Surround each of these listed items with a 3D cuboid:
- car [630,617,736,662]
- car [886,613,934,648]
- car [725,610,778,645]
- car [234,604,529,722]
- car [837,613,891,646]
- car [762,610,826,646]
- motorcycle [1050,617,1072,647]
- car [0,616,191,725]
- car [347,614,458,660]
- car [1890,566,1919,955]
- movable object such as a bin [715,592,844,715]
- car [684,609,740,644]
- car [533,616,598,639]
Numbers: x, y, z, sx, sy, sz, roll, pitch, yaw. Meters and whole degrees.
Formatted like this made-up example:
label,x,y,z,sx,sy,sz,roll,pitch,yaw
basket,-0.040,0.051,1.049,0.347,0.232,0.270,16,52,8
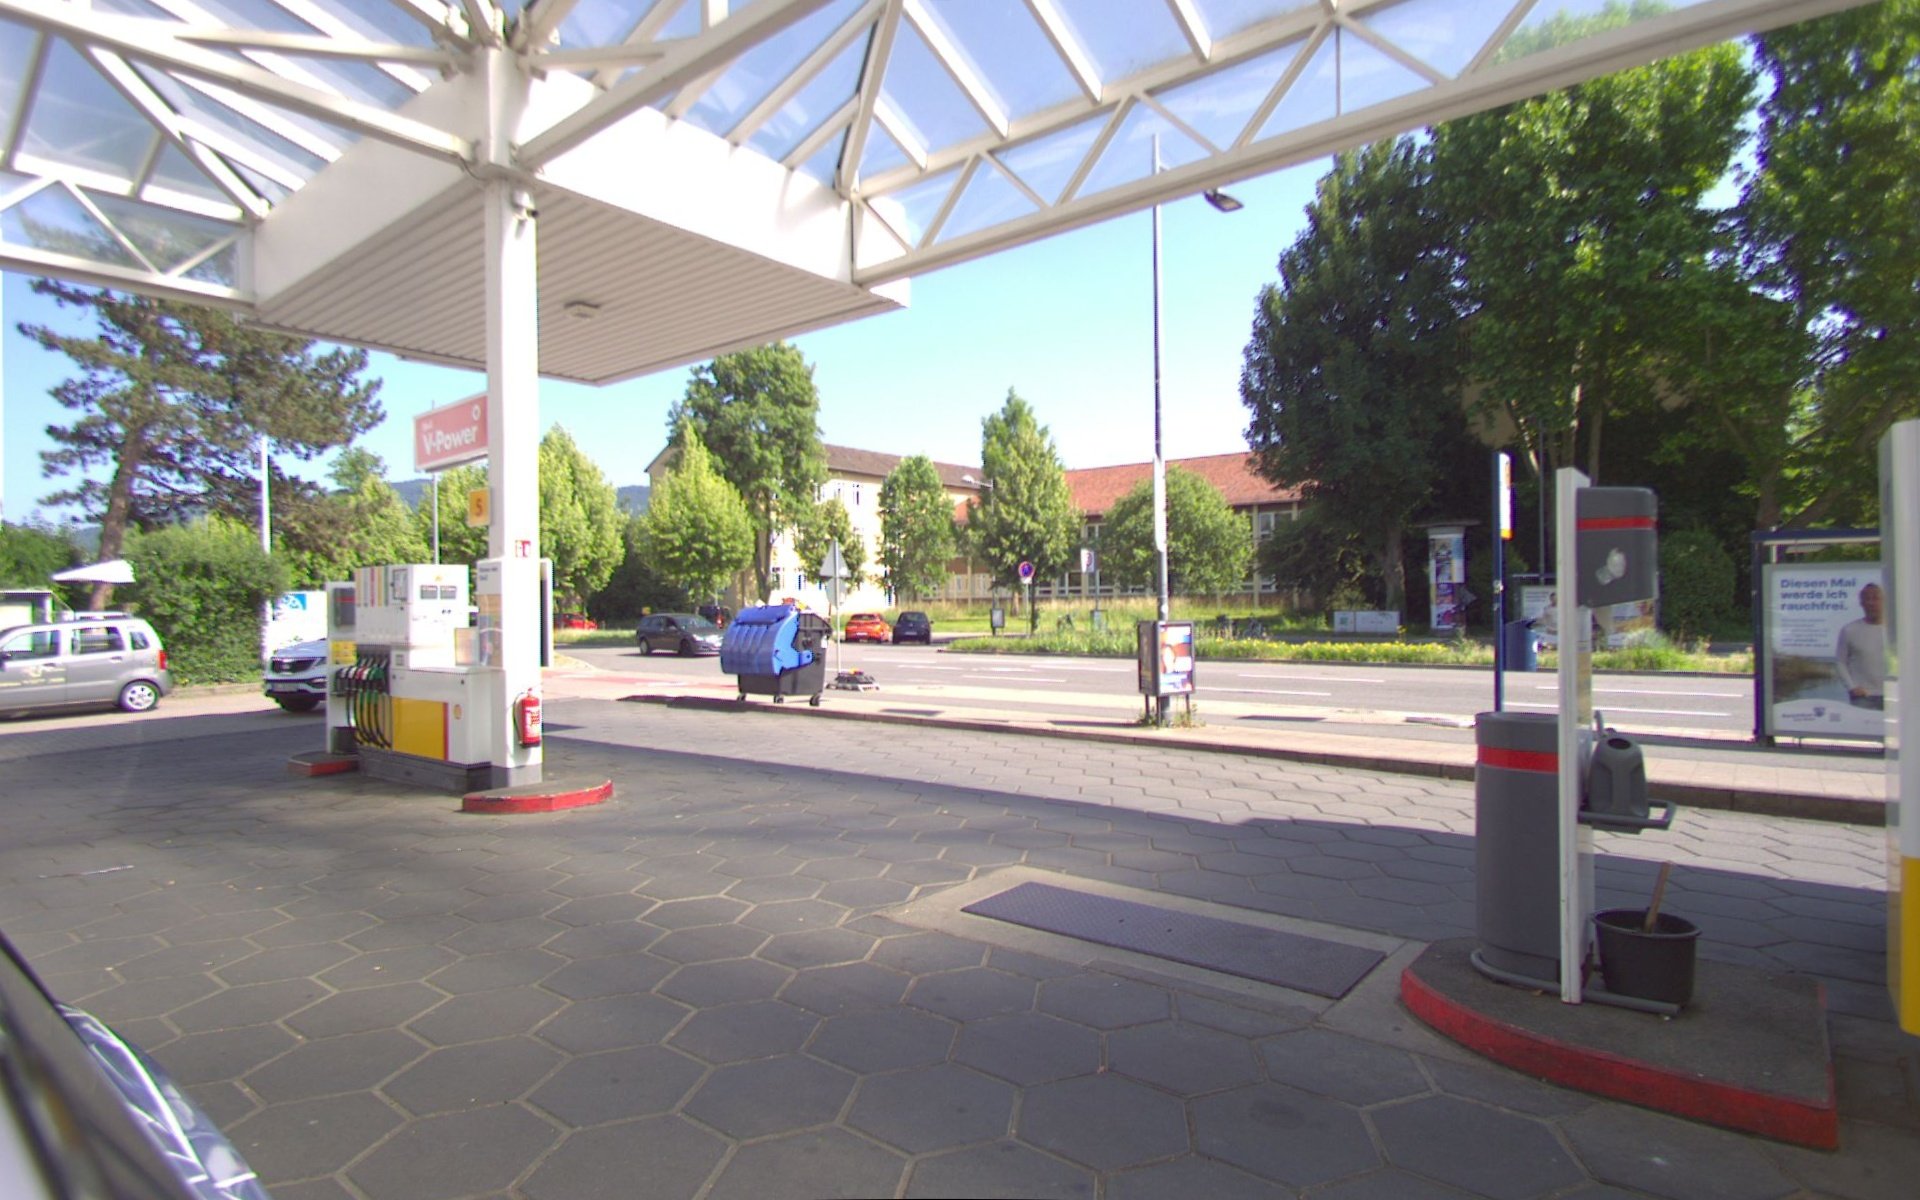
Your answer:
label,x,y,z,sx,sy,sz,roll,pitch,yaw
car,-9.874,1.347,35.868,4.378,1.479,1.547,-1,0,43
car,-2.184,1.373,45.454,1.719,1.471,4.221,0,-2,3
car,-10.693,1.413,52.183,1.855,1.735,4.225,1,-2,0
car,-9.510,0.964,17.119,1.942,1.719,4.289,-2,-1,13
car,-4.425,1.376,47.278,1.857,1.471,4.221,1,-2,3
car,-8.228,1.399,50.627,1.861,1.735,4.212,0,-2,10
motorcycle,4.019,1.269,40.099,0.552,1.122,1.750,-1,-1,16
car,-15.503,1.167,17.170,1.691,1.629,3.613,-1,1,41
car,-22.413,1.454,40.927,1.684,1.733,4.394,0,-1,7
car,5.428,0.631,2.850,3.996,1.543,1.726,-1,-2,39
movable object such as a bin,-2.672,0.778,15.025,1.336,1.701,1.324,-1,-3,41
car,-12.760,1.390,52.310,1.855,1.735,4.225,1,-2,0
car,-25.054,1.759,64.442,1.868,1.401,3.700,0,-2,21
